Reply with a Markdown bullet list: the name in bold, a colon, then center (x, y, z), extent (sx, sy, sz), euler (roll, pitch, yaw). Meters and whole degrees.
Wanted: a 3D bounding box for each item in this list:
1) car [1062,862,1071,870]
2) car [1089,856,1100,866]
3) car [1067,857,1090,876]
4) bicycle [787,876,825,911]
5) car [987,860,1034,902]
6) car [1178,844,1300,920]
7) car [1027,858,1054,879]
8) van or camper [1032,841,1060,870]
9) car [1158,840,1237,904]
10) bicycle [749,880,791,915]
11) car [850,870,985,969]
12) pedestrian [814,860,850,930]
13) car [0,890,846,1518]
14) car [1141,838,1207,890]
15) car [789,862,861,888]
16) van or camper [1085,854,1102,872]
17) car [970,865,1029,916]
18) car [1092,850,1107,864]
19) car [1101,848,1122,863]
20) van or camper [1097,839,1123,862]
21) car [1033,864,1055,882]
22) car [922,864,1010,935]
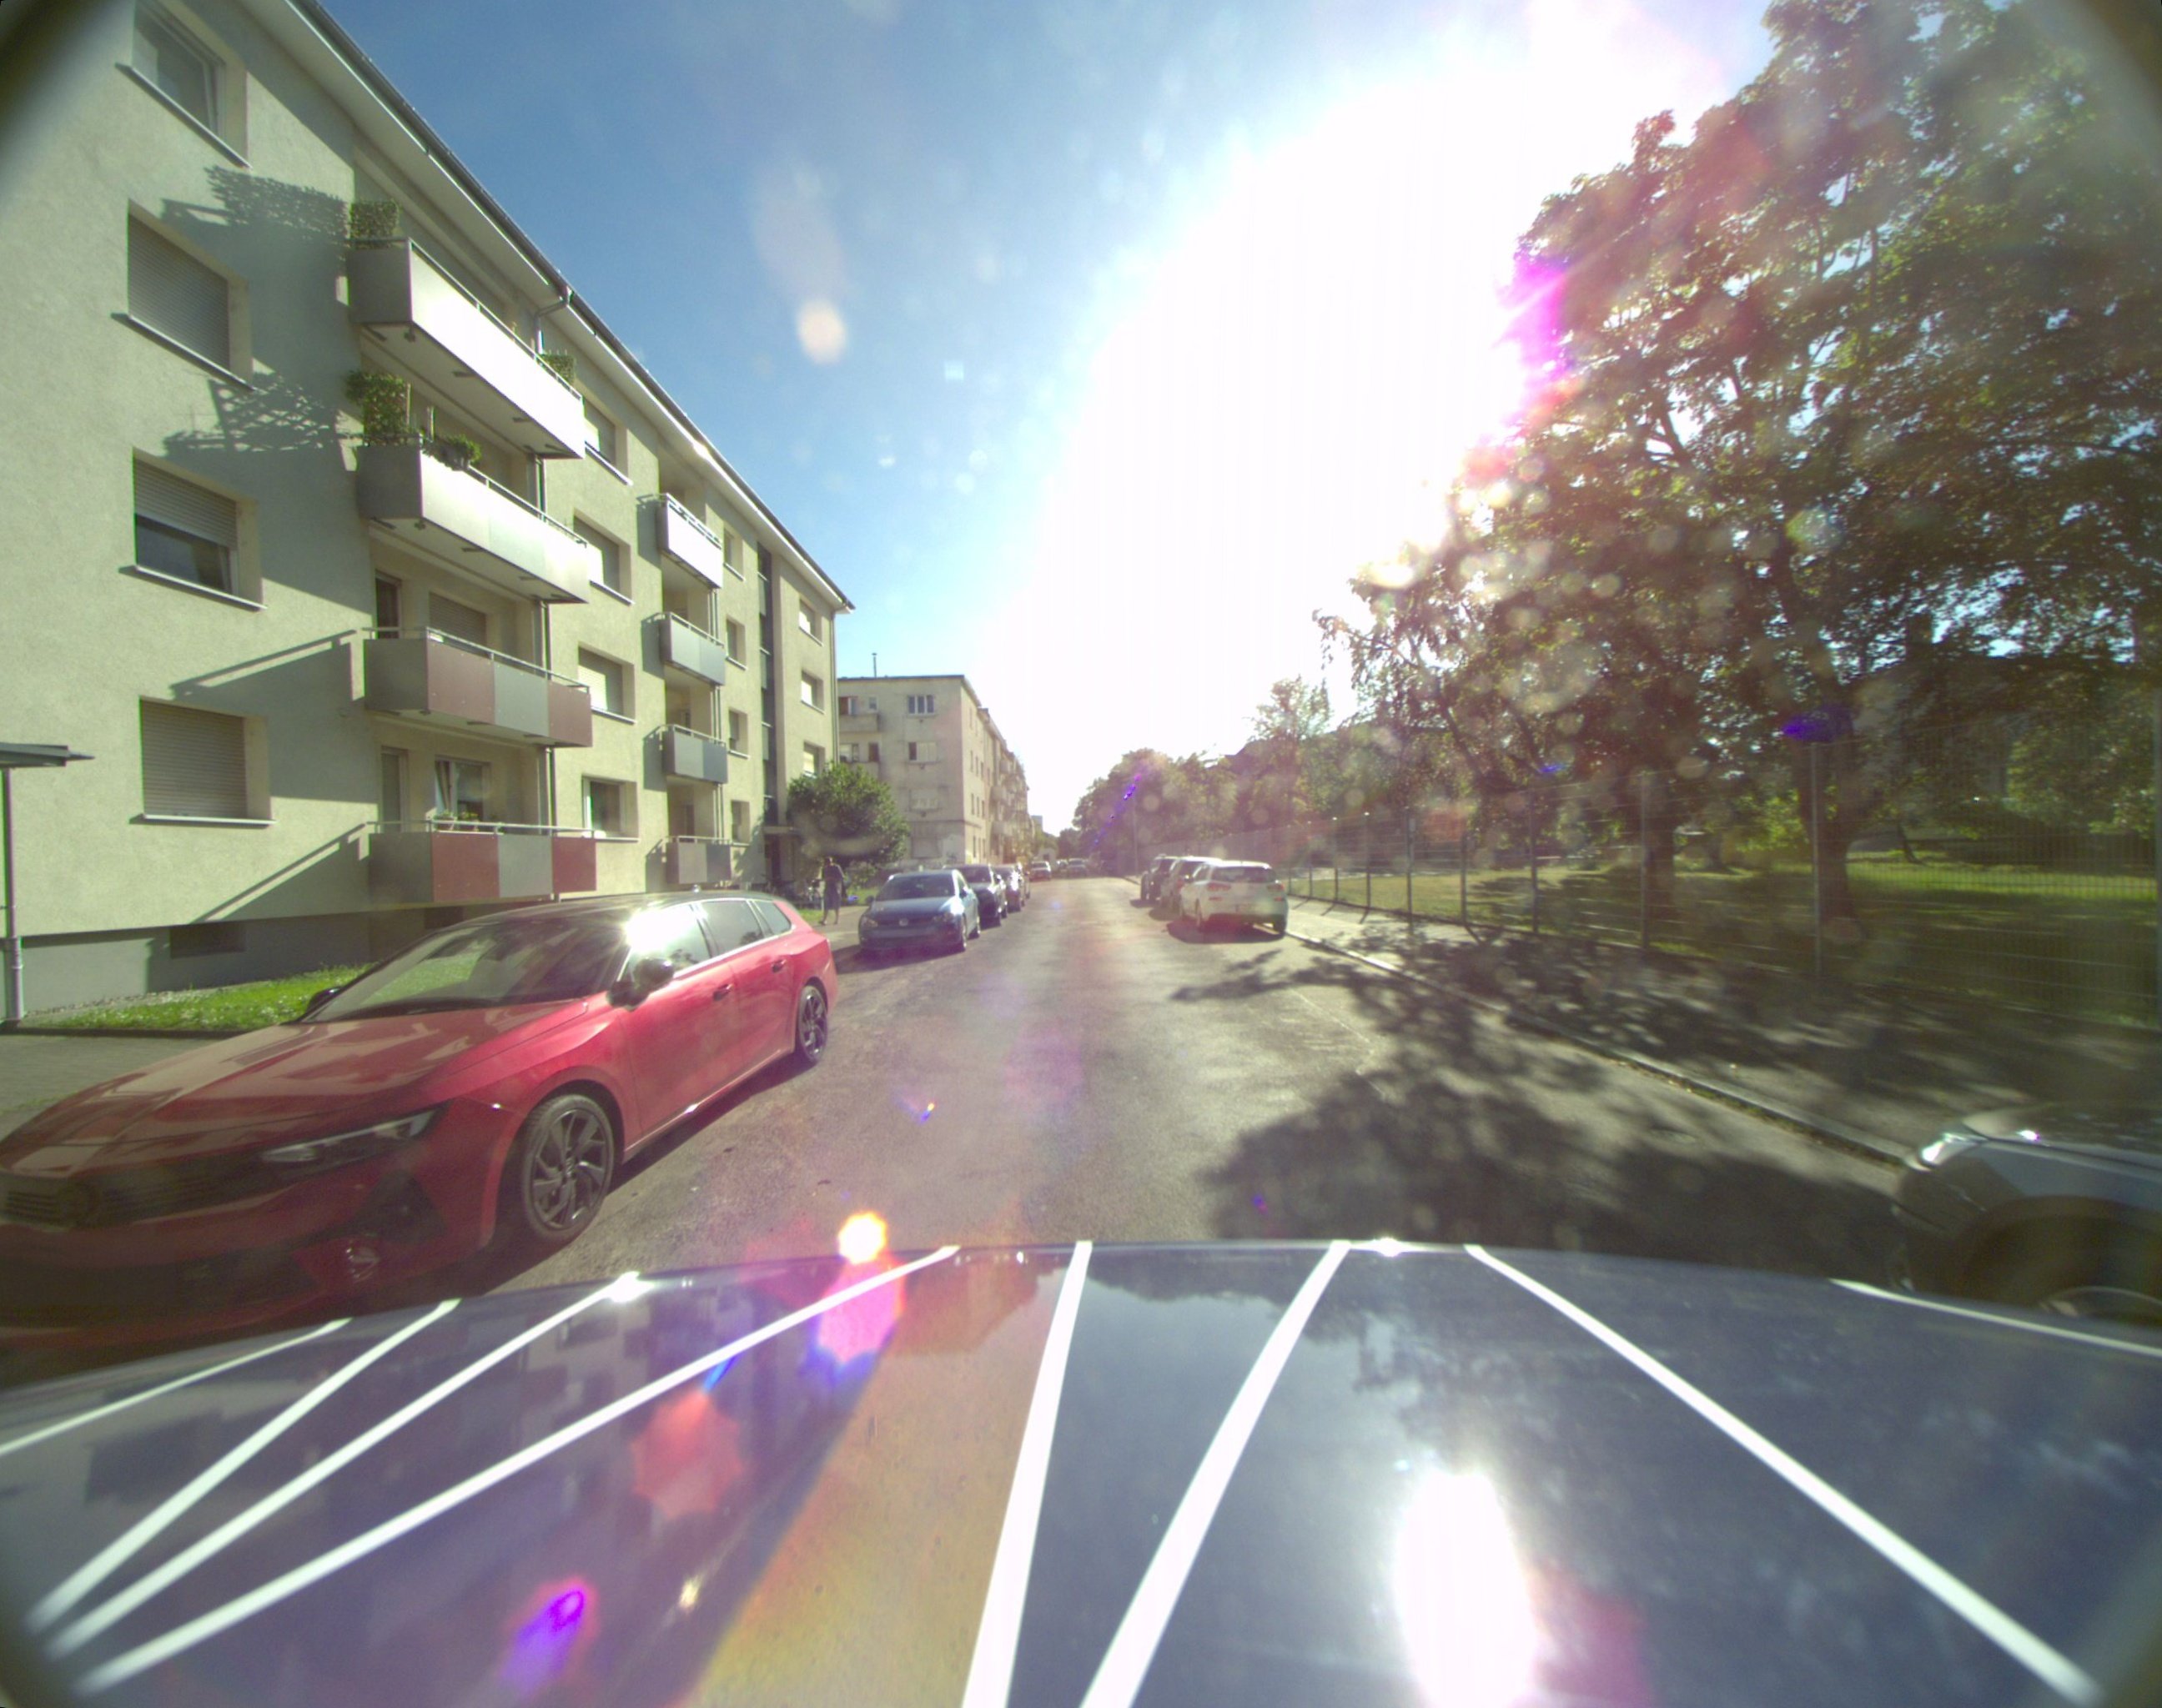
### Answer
- **car**: center (-2.860, 2.227, 145.522), extent (1.652, 1.451, 3.999), euler (-1, 0, -2)
- **car**: center (2.659, 1.368, 148.790), extent (1.999, 1.738, 4.000), euler (-1, 0, -1)
- **car**: center (-0.233, 1.116, 68.236), extent (1.862, 1.543, 3.999), euler (-2, 0, -2)
- **bicycle**: center (-8.452, 1.192, 23.427), extent (0.486, 1.006, 2.283), euler (0, 0, -3)
- **car**: center (-2.838, 1.060, 31.248), extent (1.622, 1.539, 4.084), euler (-1, 0, -2)
- **car**: center (3.332, 0.555, 16.819), extent (1.798, 1.436, 4.119), euler (1, 0, 0)
- **car**: center (-3.312, 1.171, 62.743), extent (2.070, 1.544, 3.999), euler (-1, 0, -2)
- **van or camper**: center (-3.905, 0.216, 85.576), extent (2.958, 3.161, 6.173), euler (0, -1, -1)
- **car**: center (3.298, 0.489, 22.102), extent (1.568, 1.633, 3.615), euler (3, 0, -1)
- **bicycle**: center (-9.581, 1.313, 23.502), extent (0.486, 0.955, 2.283), euler (0, 0, -3)
- **car**: center (-2.876, 1.090, 14.224), extent (1.757, 1.472, 4.079), euler (-1, 0, -2)
- **pedestrian**: center (-6.461, 1.040, 19.737), extent (0.647, 1.761, 0.841), euler (-1, 0, -2)
- **car**: center (-2.969, 1.034, 4.264), extent (1.756, 1.435, 4.523), euler (-1, 0, 2)
- **car**: center (3.253, 0.336, 27.356), extent (1.717, 1.654, 4.164), euler (2, 0, -1)
- **car**: center (-15.133, 1.251, 45.013), extent (3.718, 1.450, 1.693), euler (0, -2, 0)
- **van or camper**: center (1.721, 1.245, 108.133), extent (2.126, 2.484, 3.999), euler (-1, 0, -2)
- **car**: center (-2.643, 1.149, 25.247), extent (1.609, 1.475, 3.797), euler (-1, 0, -1)
- **car**: center (2.361, 0.405, 96.103), extent (1.652, 1.674, 3.999), euler (-1, 0, -2)
- **car**: center (2.839, 0.137, 71.506), extent (1.652, 1.408, 3.999), euler (-1, 0, -2)
- **van or camper**: center (2.880, -0.354, 77.405), extent (2.212, 2.267, 5.309), euler (-1, 0, -2)
- **car**: center (-3.355, 1.718, 68.940), extent (1.877, 1.544, 3.999), euler (-1, 0, -2)
- **car**: center (-2.875, 1.089, 19.811), extent (1.757, 1.550, 4.254), euler (-1, 0, -2)
